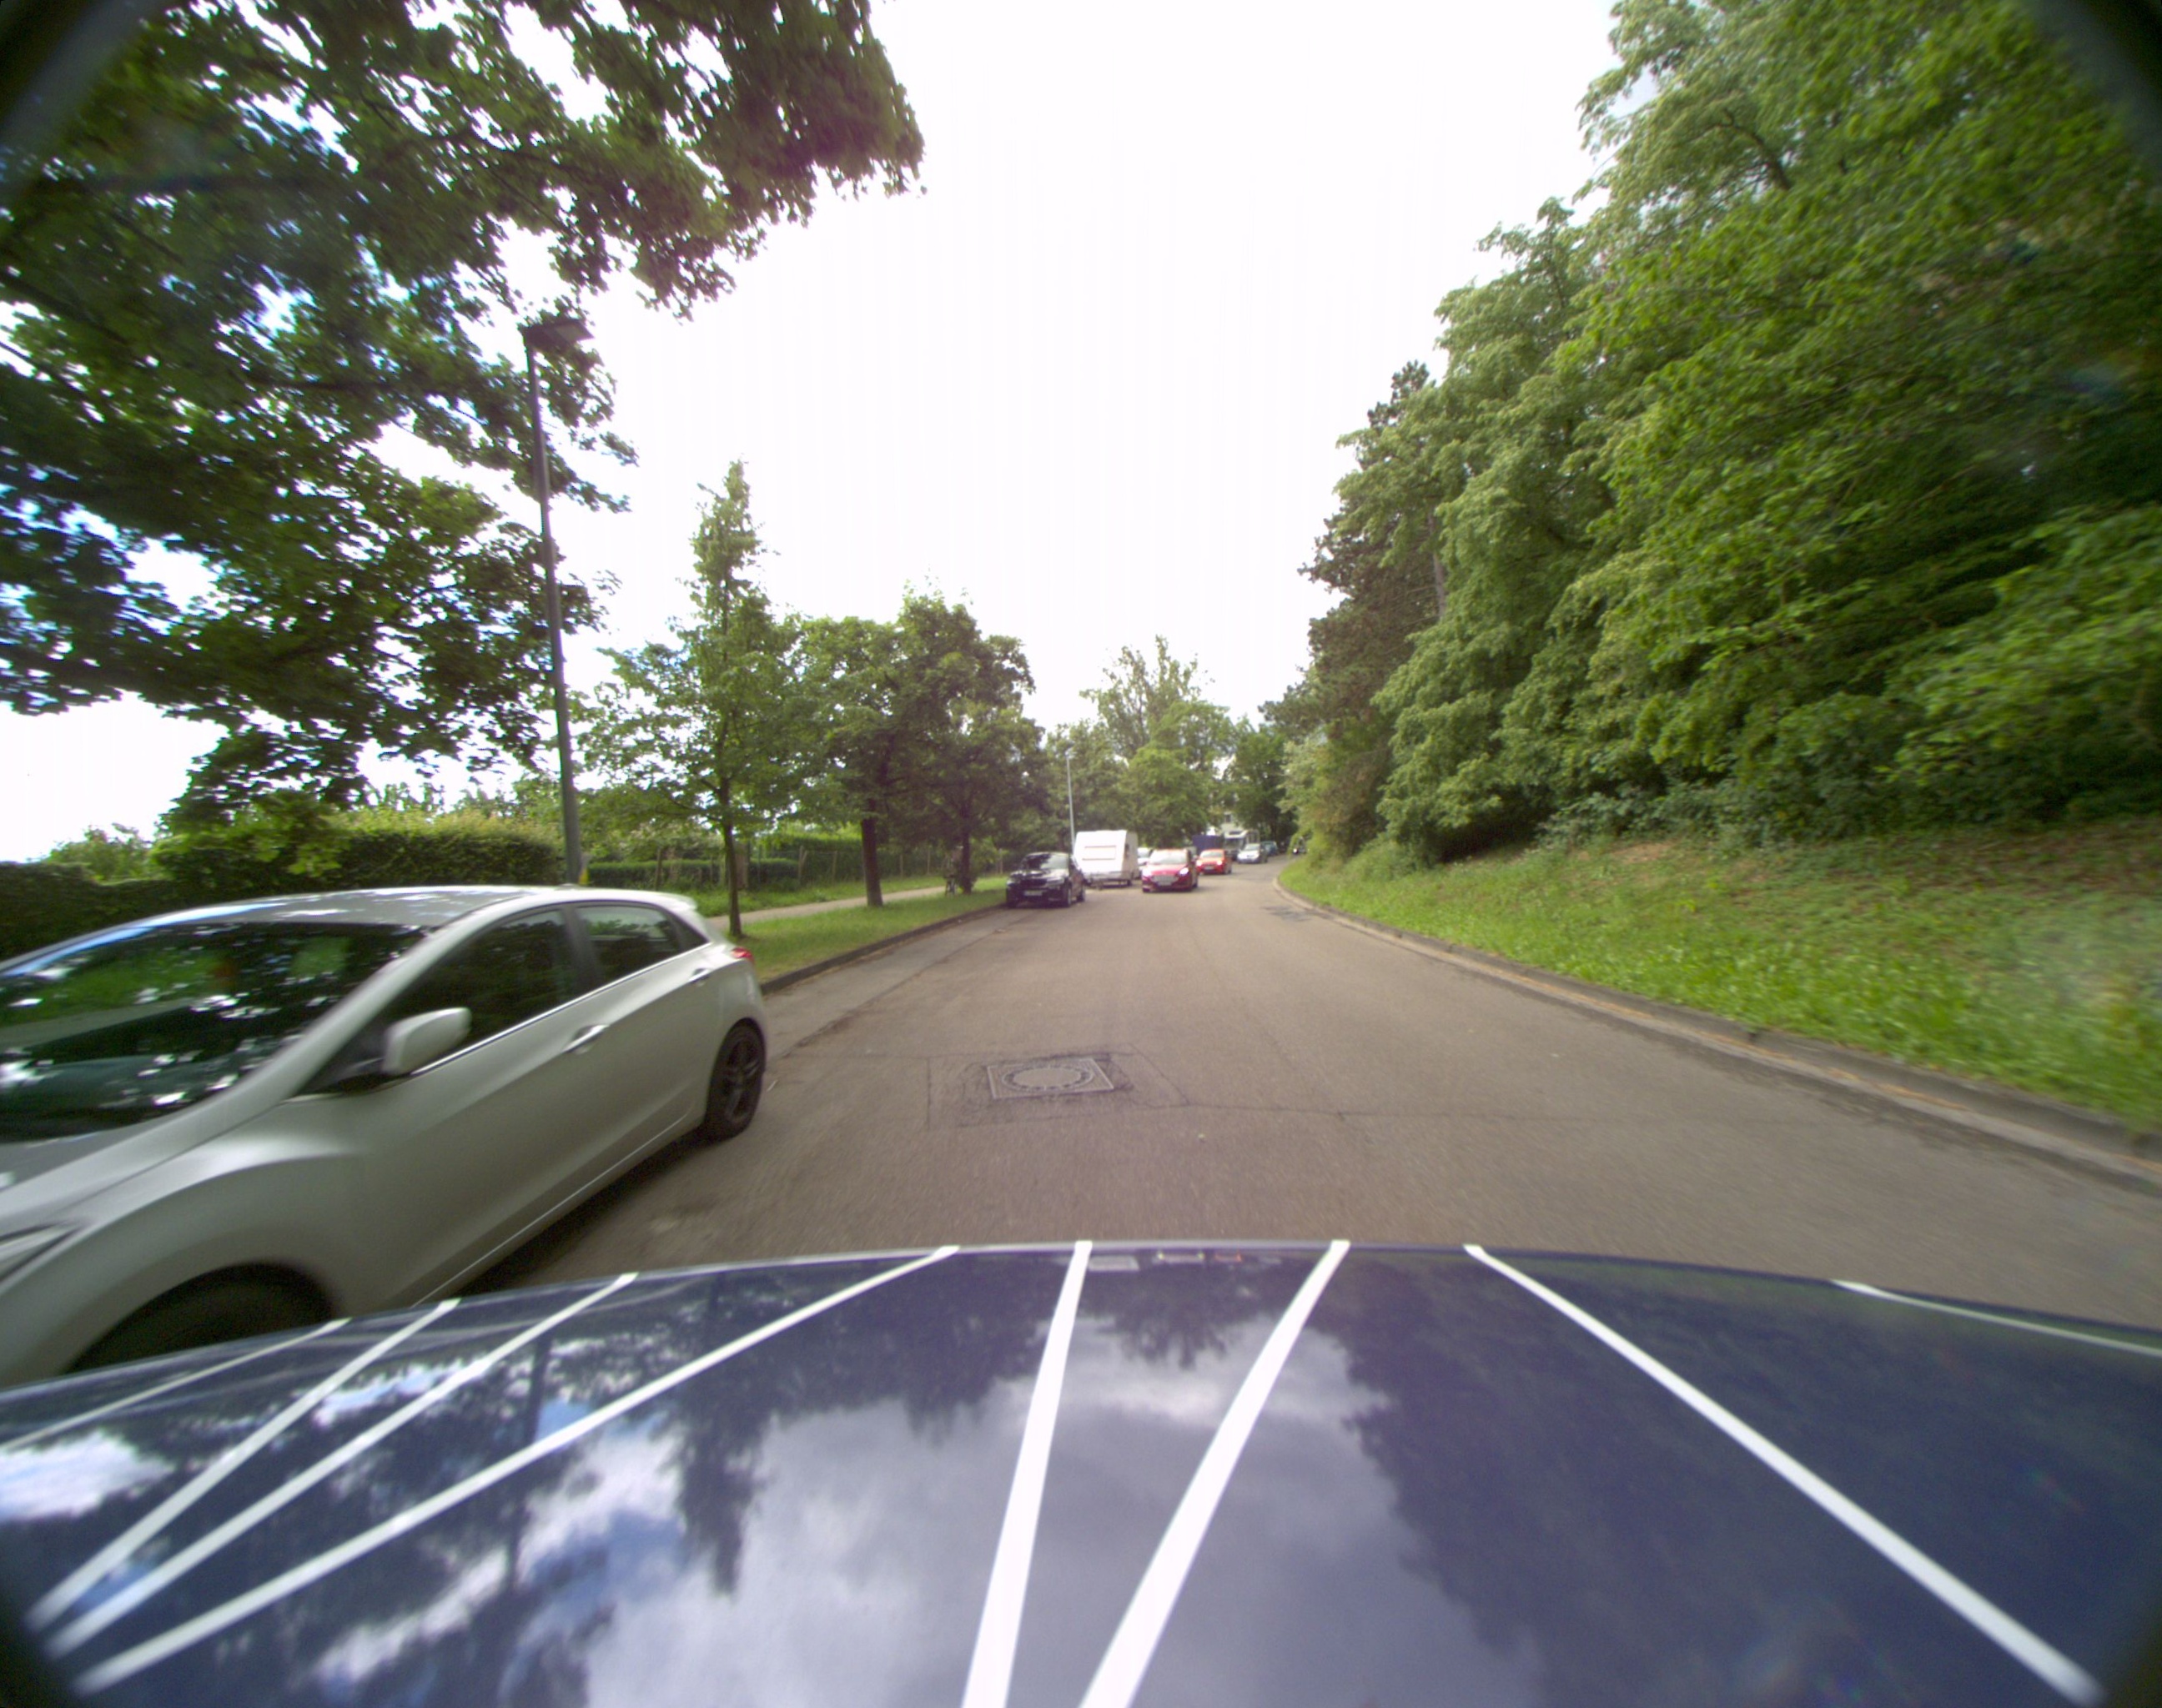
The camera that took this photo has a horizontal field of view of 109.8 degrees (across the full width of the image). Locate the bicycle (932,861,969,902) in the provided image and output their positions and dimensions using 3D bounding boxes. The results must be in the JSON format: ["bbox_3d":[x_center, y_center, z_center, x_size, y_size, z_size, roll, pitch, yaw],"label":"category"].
[{"bbox_3d":[-4.471,0.930,26.199,0.535,1.209,2.185,-3,3,8],"label":"bicycle"}]

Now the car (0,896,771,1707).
[{"bbox_3d":[-2.923,1.027,2.642,1.907,1.468,4.059,-2,0,1],"label":"car"}]

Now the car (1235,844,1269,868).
[{"bbox_3d":[13.921,0.135,61.667,1.919,1.672,4.005,0,3,24],"label":"car"}]

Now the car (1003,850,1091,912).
[{"bbox_3d":[-0.924,0.756,23.584,1.852,1.633,4.533,-2,1,8],"label":"car"}]

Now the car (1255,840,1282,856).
[{"bbox_3d":[19.746,-0.633,79.924,1.696,1.538,3.774,-2,2,30],"label":"car"}]

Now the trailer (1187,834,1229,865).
[{"bbox_3d":[10.153,-0.347,60.573,2.108,2.348,4.709,0,0,25],"label":"trailer"}]

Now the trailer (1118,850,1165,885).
[{"bbox_3d":[3.428,0.720,42.534,1.775,1.721,4.654,0,2,15],"label":"trailer"}]

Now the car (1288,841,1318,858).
[{"bbox_3d":[23.259,-0.505,79.510,1.764,1.509,4.006,-2,2,35],"label":"car"}]

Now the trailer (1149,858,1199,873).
[{"bbox_3d":[6.277,0.761,50.510,2.107,0.647,6.408,-3,1,18],"label":"trailer"}]

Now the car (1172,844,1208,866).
[{"bbox_3d":[8.073,0.041,56.199,1.731,1.513,3.410,-2,0,23],"label":"car"}]

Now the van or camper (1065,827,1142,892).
[{"bbox_3d":[1.132,0.149,33.599,2.164,2.522,6.036,-3,1,13],"label":"van or camper"}]

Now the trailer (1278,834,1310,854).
[{"bbox_3d":[24.668,-1.159,87.748,1.995,1.922,5.902,-2,3,31],"label":"trailer"}]

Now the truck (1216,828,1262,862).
[{"bbox_3d":[14.759,-0.885,70.547,2.305,2.917,7.044,-1,1,27],"label":"truck"}]

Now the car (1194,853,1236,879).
[{"bbox_3d":[7.873,0.707,44.395,1.864,1.440,4.182,-1,-1,17],"label":"car"}]

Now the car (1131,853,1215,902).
[{"bbox_3d":[3.745,0.876,30.076,1.995,1.619,4.632,-2,1,24],"label":"car"}]
